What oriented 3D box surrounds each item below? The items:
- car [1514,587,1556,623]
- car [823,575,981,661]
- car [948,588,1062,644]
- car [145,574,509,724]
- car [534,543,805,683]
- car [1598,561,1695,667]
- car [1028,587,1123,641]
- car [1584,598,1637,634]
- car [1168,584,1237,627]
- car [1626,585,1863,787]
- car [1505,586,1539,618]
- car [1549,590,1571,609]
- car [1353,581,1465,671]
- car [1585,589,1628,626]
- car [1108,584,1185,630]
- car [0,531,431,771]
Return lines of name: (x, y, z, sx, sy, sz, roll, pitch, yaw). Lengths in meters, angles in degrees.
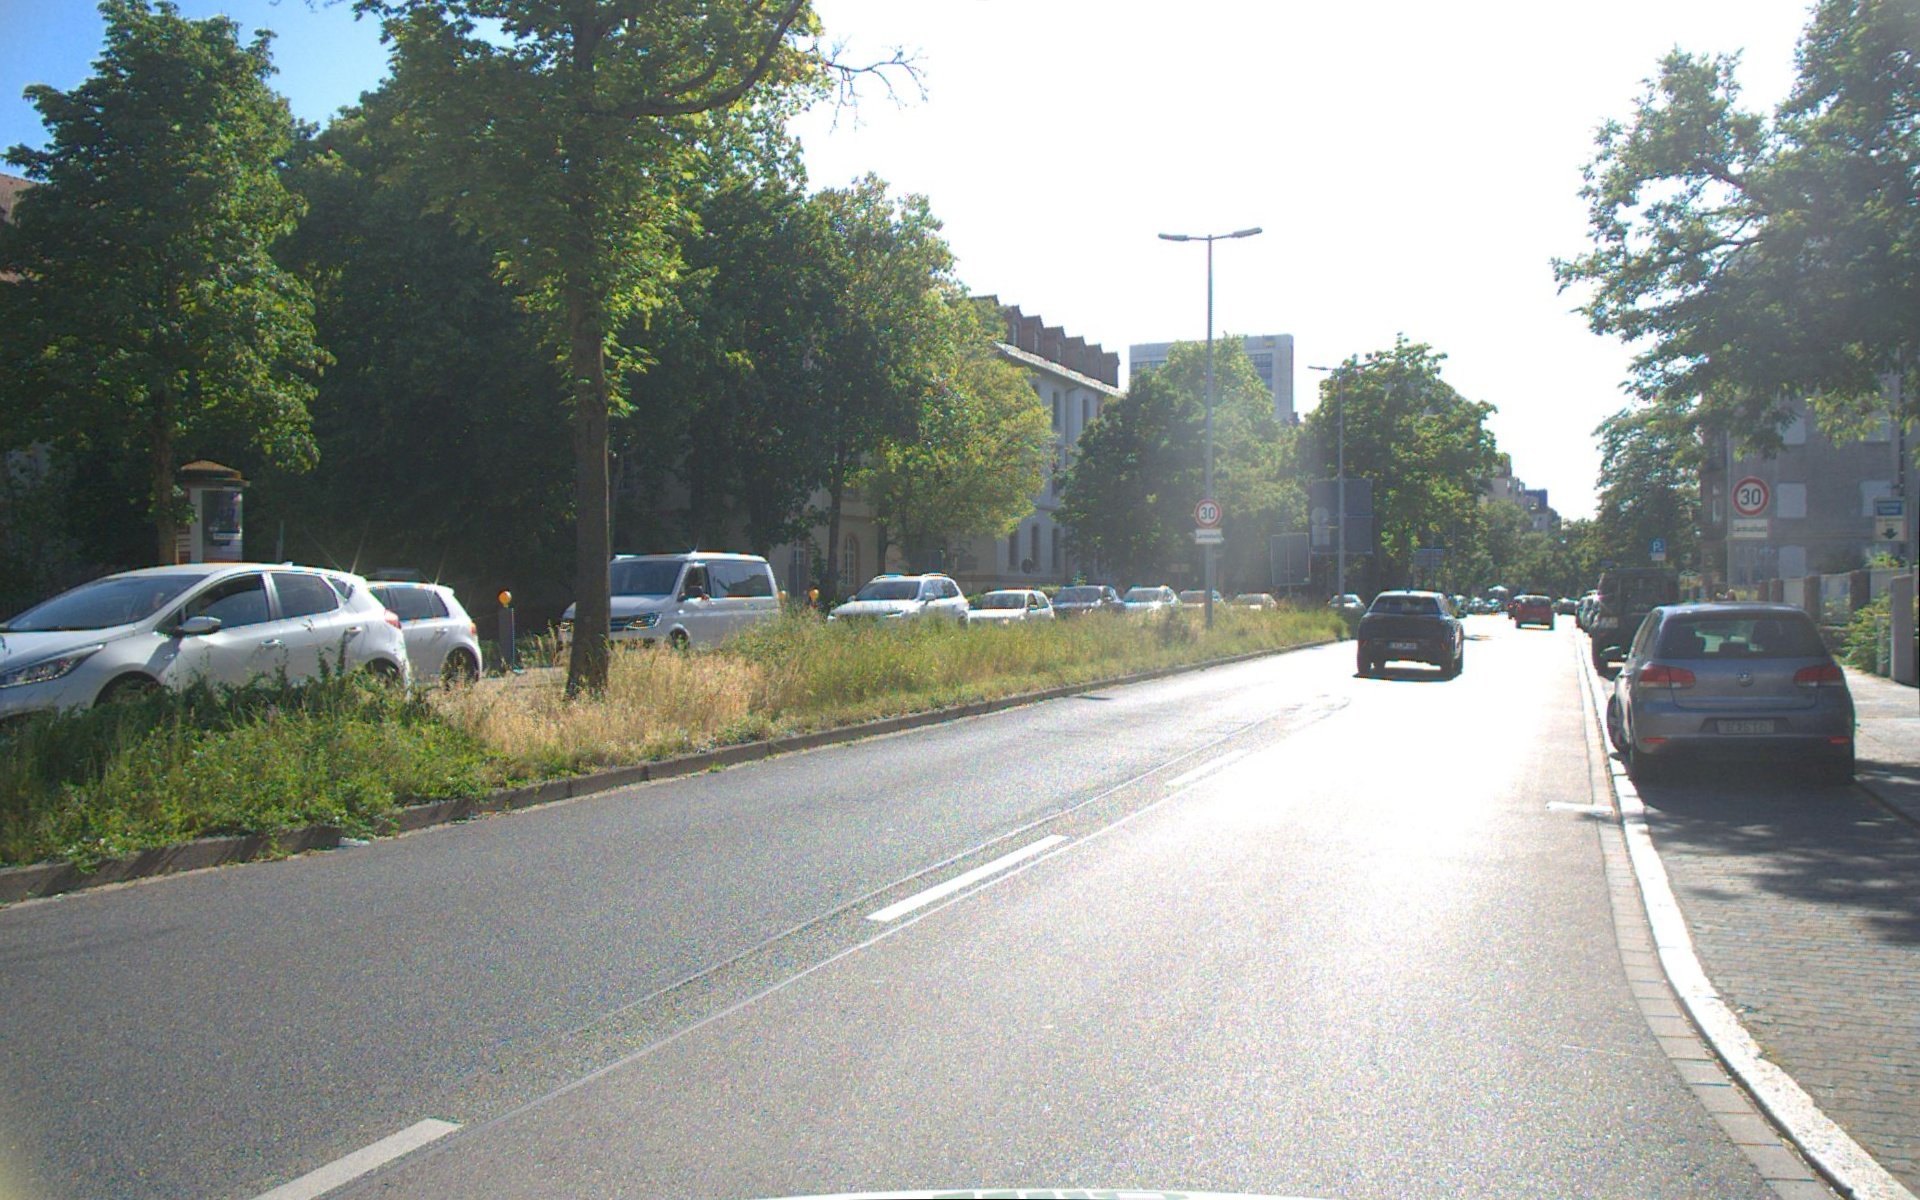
car: (26.633, 0.219, 76.552, 1.755, 1.546, 3.850, 1, 2, 20)
car: (-1.177, 0.364, 36.489, 1.758, 1.774, 5.033, 0, 0, 19)
car: (1.240, 0.386, 43.189, 1.758, 1.375, 4.259, 0, 0, 19)
car: (-7.253, 0.505, 19.413, 1.758, 1.545, 4.080, 0, 0, 19)
car: (-4.613, 0.179, 27.196, 2.187, 2.063, 5.019, 0, 0, 19)
car: (14.250, 0.296, 34.518, 1.626, 2.049, 4.777, -1, -1, 20)
car: (3.550, 0.403, 50.188, 1.758, 1.545, 4.446, 0, 0, 19)
car: (24.820, 0.605, 63.174, 1.633, 1.203, 3.902, -3, -1, 19)
car: (9.506, 0.251, 64.605, 1.759, 1.545, 4.258, 1, -1, 20)
car: (7.036, 0.657, 15.169, 1.604, 1.473, 4.157, 0, 2, 20)
car: (35.134, 0.126, 103.392, 1.920, 1.914, 4.001, 0, 0, 19)
car: (55.168, -0.051, 152.013, 1.880, 1.668, 4.001, 0, 0, 20)
car: (8.714, 0.458, 31.879, 1.855, 1.545, 4.002, 2, 1, 18)
car: (28.353, 0.316, 72.601, 1.575, 1.471, 3.660, -3, -1, 20)
car: (6.603, 0.217, 58.159, 1.758, 1.545, 4.259, 0, 0, 19)
car: (-6.202, 0.317, 12.915, 1.758, 1.545, 4.206, 0, 0, 19)
